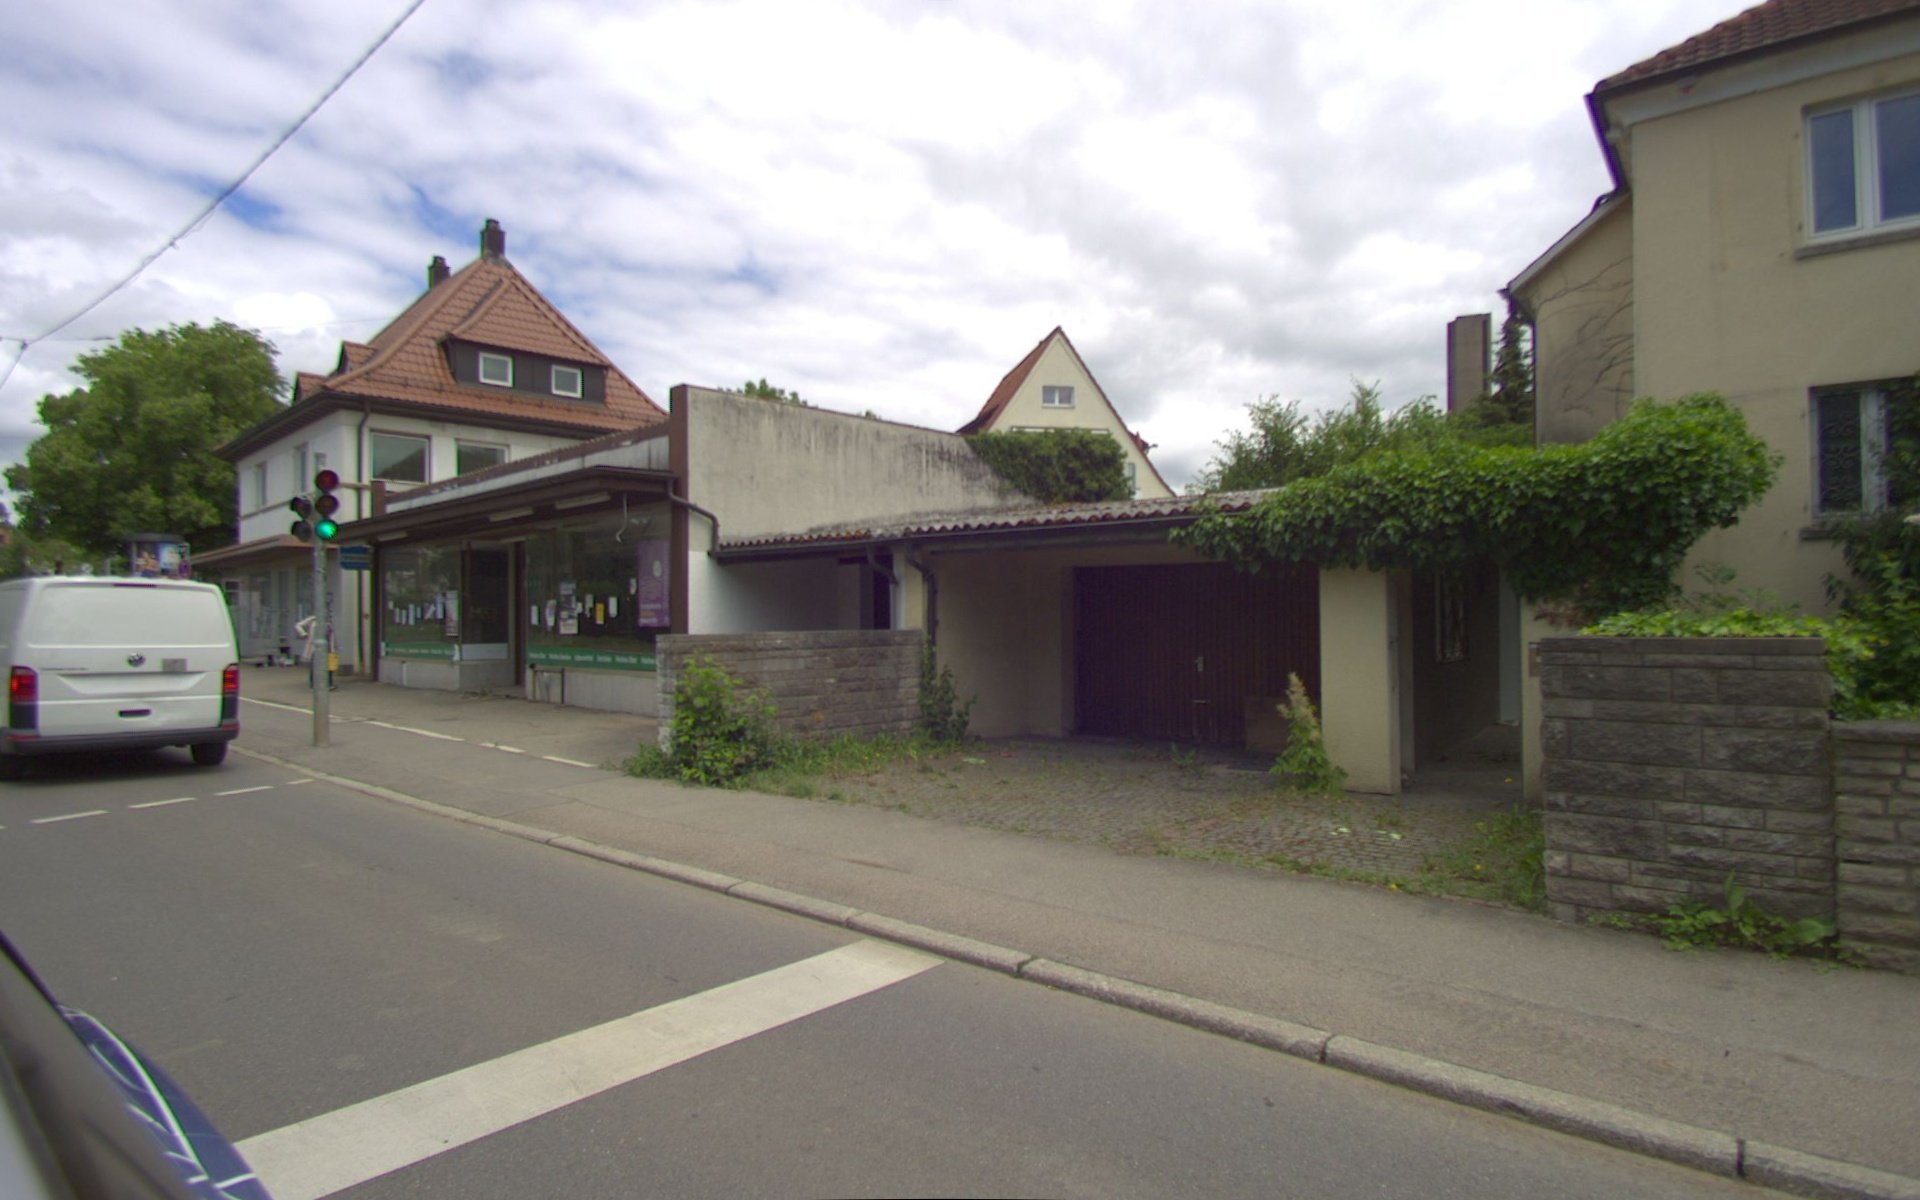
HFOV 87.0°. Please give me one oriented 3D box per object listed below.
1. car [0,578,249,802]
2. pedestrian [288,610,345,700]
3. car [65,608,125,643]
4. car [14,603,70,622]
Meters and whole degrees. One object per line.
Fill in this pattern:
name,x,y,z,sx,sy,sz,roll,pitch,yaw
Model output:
car,-9.595,0.823,10.998,4.830,1.930,1.861,0,-3,41
pedestrian,-13.075,1.095,20.568,0.604,1.757,0.811,0,2,41
car,-45.657,1.309,53.388,3.997,1.690,1.749,0,2,41
car,-91.738,1.201,101.227,3.935,1.752,2.005,-2,2,-37
